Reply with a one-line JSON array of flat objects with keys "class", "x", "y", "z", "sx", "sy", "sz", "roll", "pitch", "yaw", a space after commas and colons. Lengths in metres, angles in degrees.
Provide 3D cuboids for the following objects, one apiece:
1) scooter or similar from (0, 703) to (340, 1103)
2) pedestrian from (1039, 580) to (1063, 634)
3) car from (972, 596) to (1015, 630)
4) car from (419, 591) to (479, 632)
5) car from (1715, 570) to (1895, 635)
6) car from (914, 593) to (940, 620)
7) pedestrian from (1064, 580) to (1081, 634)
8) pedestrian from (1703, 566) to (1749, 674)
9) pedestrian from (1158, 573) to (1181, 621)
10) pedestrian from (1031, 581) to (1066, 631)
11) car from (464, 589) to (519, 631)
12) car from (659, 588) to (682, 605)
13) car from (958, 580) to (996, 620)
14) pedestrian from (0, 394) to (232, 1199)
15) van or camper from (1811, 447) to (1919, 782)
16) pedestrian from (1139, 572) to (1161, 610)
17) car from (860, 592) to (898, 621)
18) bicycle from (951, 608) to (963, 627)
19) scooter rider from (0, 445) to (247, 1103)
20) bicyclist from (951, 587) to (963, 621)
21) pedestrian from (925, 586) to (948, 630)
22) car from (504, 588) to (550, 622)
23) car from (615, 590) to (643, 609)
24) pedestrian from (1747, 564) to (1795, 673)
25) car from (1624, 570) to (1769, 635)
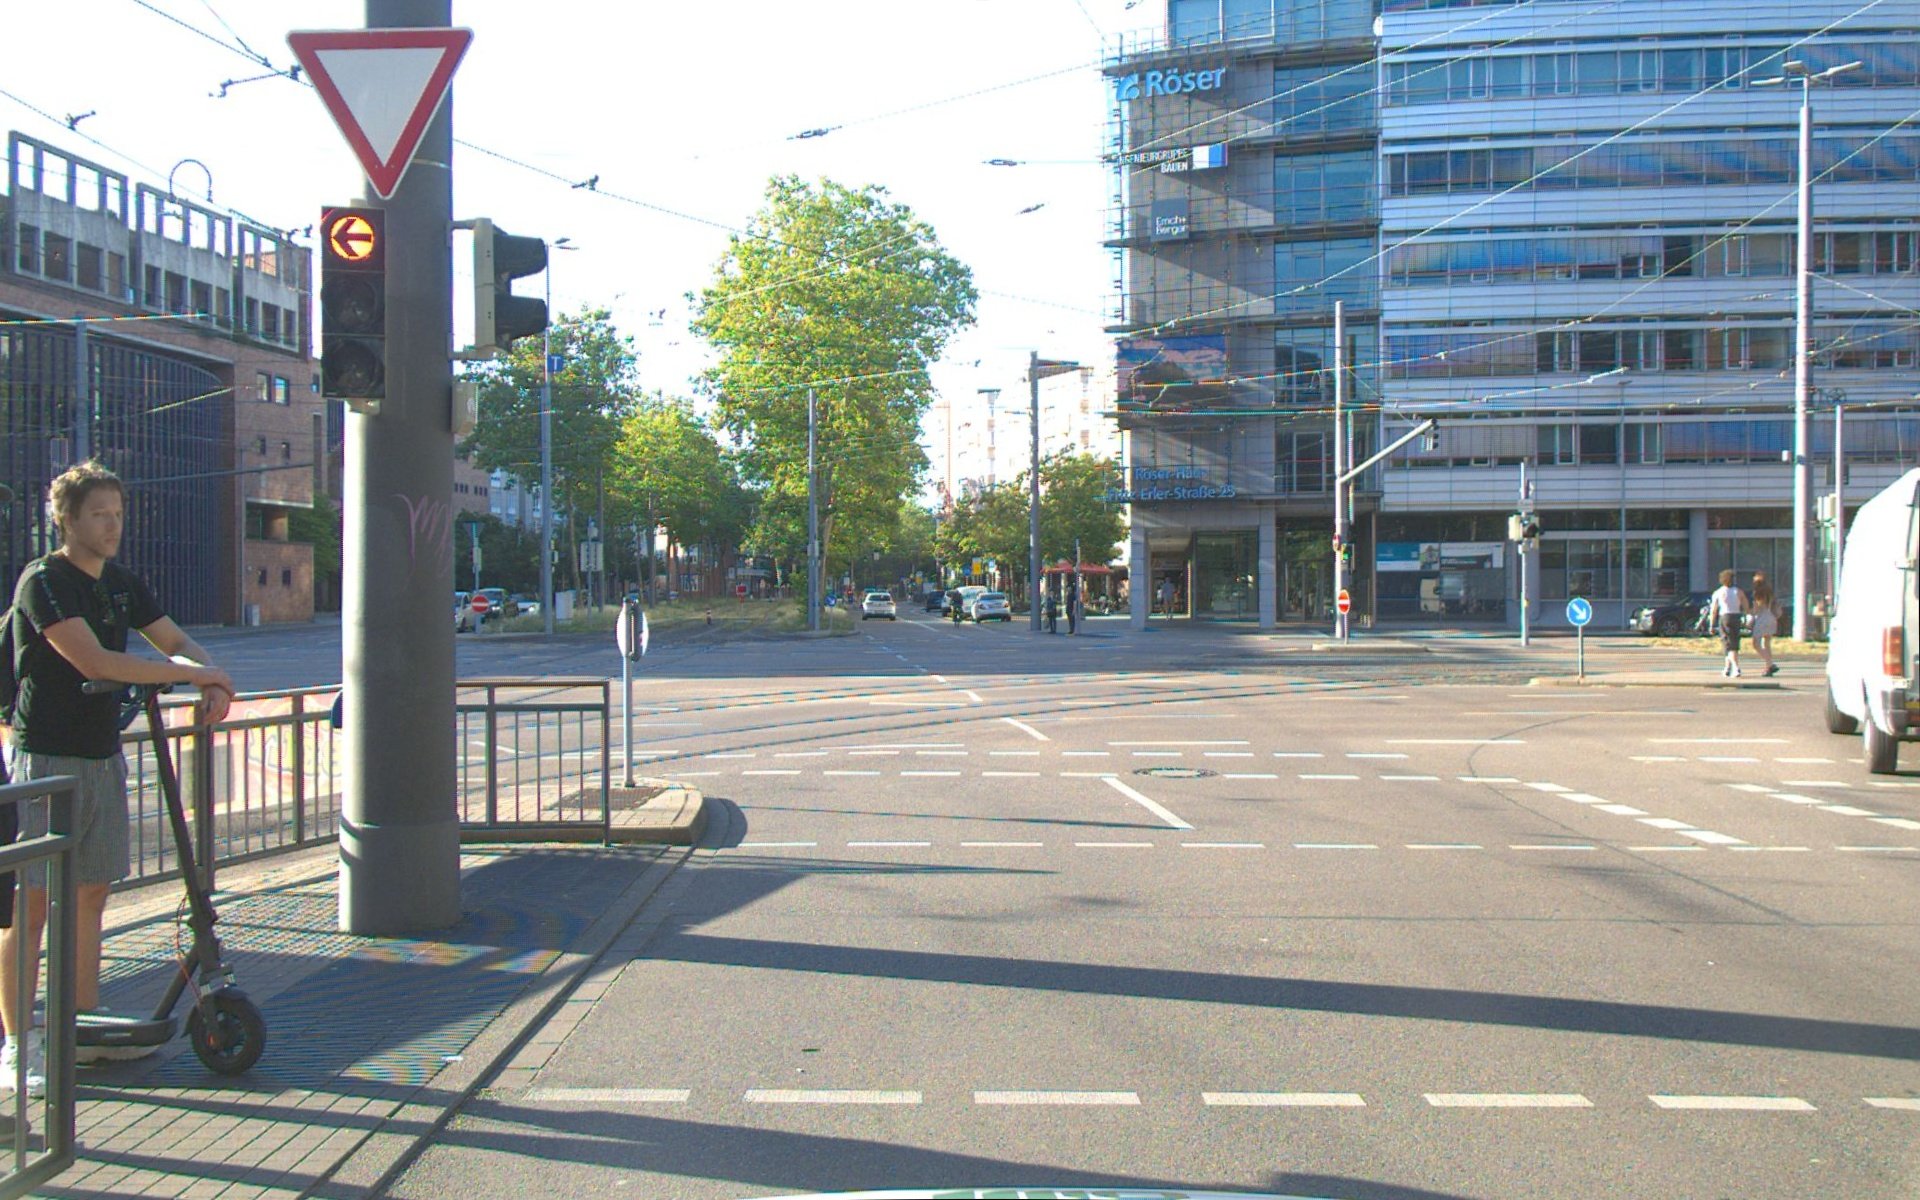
[{"class": "scooter or similar", "x": -2.630, "y": 0.894, "z": 5.085, "sx": 1.177, "sy": 1.100, "sz": 0.648, "roll": -1, "pitch": 0, "yaw": 3}, {"class": "pedestrian", "x": 3.528, "y": 0.275, "z": 64.357, "sx": 0.832, "sy": 2.049, "sz": 0.707, "roll": 1, "pitch": -1, "yaw": -2}, {"class": "car", "x": 1.649, "y": 0.644, "z": 82.785, "sx": 1.988, "sy": 1.624, "sz": 3.999, "roll": 1, "pitch": 0, "yaw": -1}, {"class": "car", "x": -20.645, "y": 0.441, "z": 66.936, "sx": 1.591, "sy": 1.604, "sz": 3.994, "roll": -1, "pitch": 0, "yaw": -7}, {"class": "car", "x": 24.100, "y": 0.068, "z": 47.255, "sx": 4.165, "sy": 1.753, "sz": 1.885, "roll": -1, "pitch": 0, "yaw": 2}, {"class": "car", "x": -2.496, "y": 0.506, "z": 126.581, "sx": 1.953, "sy": 2.049, "sz": 3.999, "roll": 1, "pitch": 0, "yaw": -1}, {"class": "pedestrian", "x": 4.259, "y": 0.266, "z": 62.831, "sx": 0.574, "sy": 2.049, "sz": 0.620, "roll": 1, "pitch": -1, "yaw": 0}, {"class": "pedestrian", "x": 12.919, "y": 0.324, "z": 27.911, "sx": 0.664, "sy": 1.789, "sz": 0.741, "roll": -1, "pitch": 0, "yaw": 24}, {"class": "pedestrian", "x": 9.024, "y": -0.136, "z": 71.110, "sx": 0.852, "sy": 2.049, "sz": 0.793, "roll": 1, "pitch": -2, "yaw": -1}, {"class": "pedestrian", "x": 3.524, "y": 0.249, "z": 66.144, "sx": 1.315, "sy": 1.984, "sz": 1.011, "roll": 0, "pitch": 0, "yaw": -1}, {"class": "car", "x": -21.106, "y": 0.436, "z": 74.649, "sx": 1.787, "sy": 1.821, "sz": 3.994, "roll": -1, "pitch": 0, "yaw": -7}, {"class": "car", "x": -31.080, "y": -0.358, "z": 177.904, "sx": 1.807, "sy": 1.814, "sz": 3.999, "roll": -1, "pitch": 0, "yaw": -1}, {"class": "car", "x": 0.886, "y": 0.006, "z": 89.708, "sx": 1.953, "sy": 2.049, "sz": 3.999, "roll": 1, "pitch": 0, "yaw": -1}, {"class": "pedestrian", "x": -2.656, "y": 0.492, "z": 4.252, "sx": 1.143, "sy": 1.917, "sz": 0.854, "roll": -1, "pitch": 0, "yaw": 4}, {"class": "van or camper", "x": 9.569, "y": 0.081, "z": 15.815, "sx": 1.959, "sy": 2.660, "sz": 6.497, "roll": -1, "pitch": 0, "yaw": 22}, {"class": "pedestrian", "x": 11.369, "y": -0.524, "z": 98.967, "sx": 1.285, "sy": 2.228, "sz": 1.171, "roll": 1, "pitch": 0, "yaw": 5}, {"class": "car", "x": -4.284, "y": 0.329, "z": 88.191, "sx": 1.712, "sy": 1.443, "sz": 4.001, "roll": 0, "pitch": 0, "yaw": 1}, {"class": "bicycle", "x": -0.128, "y": 0.777, "z": 72.266, "sx": 0.481, "sy": 0.802, "sz": 1.861, "roll": 1, "pitch": 0, "yaw": -1}, {"class": "scooter rider", "x": -2.640, "y": 0.505, "z": 5.102, "sx": 0.554, "sy": 1.885, "sz": 0.680, "roll": -1, "pitch": -2, "yaw": 4}, {"class": "bicyclist", "x": -0.129, "y": 0.164, "z": 71.993, "sx": 0.477, "sy": 1.465, "sz": 0.615, "roll": 1, "pitch": -1, "yaw": -1}, {"class": "pedestrian", "x": -0.933, "y": 0.313, "z": 65.320, "sx": 0.852, "sy": 1.737, "sz": 0.793, "roll": 1, "pitch": -1, "yaw": -1}, {"class": "car", "x": -21.618, "y": 0.267, "z": 82.695, "sx": 1.644, "sy": 1.635, "sz": 3.994, "roll": 1, "pitch": 0, "yaw": -7}, {"class": "car", "x": -31.884, "y": -0.073, "z": 159.410, "sx": 1.871, "sy": 1.814, "sz": 3.999, "roll": -1, "pitch": 0, "yaw": -1}, {"class": "pedestrian", "x": 13.617, "y": 0.305, "z": 27.782, "sx": 0.669, "sy": 1.789, "sz": 0.742, "roll": -1, "pitch": 0, "yaw": 23}, {"class": "car", "x": 24.353, "y": 0.083, "z": 54.799, "sx": 3.906, "sy": 2.049, "sz": 2.000, "roll": 1, "pitch": 0, "yaw": -1}]
